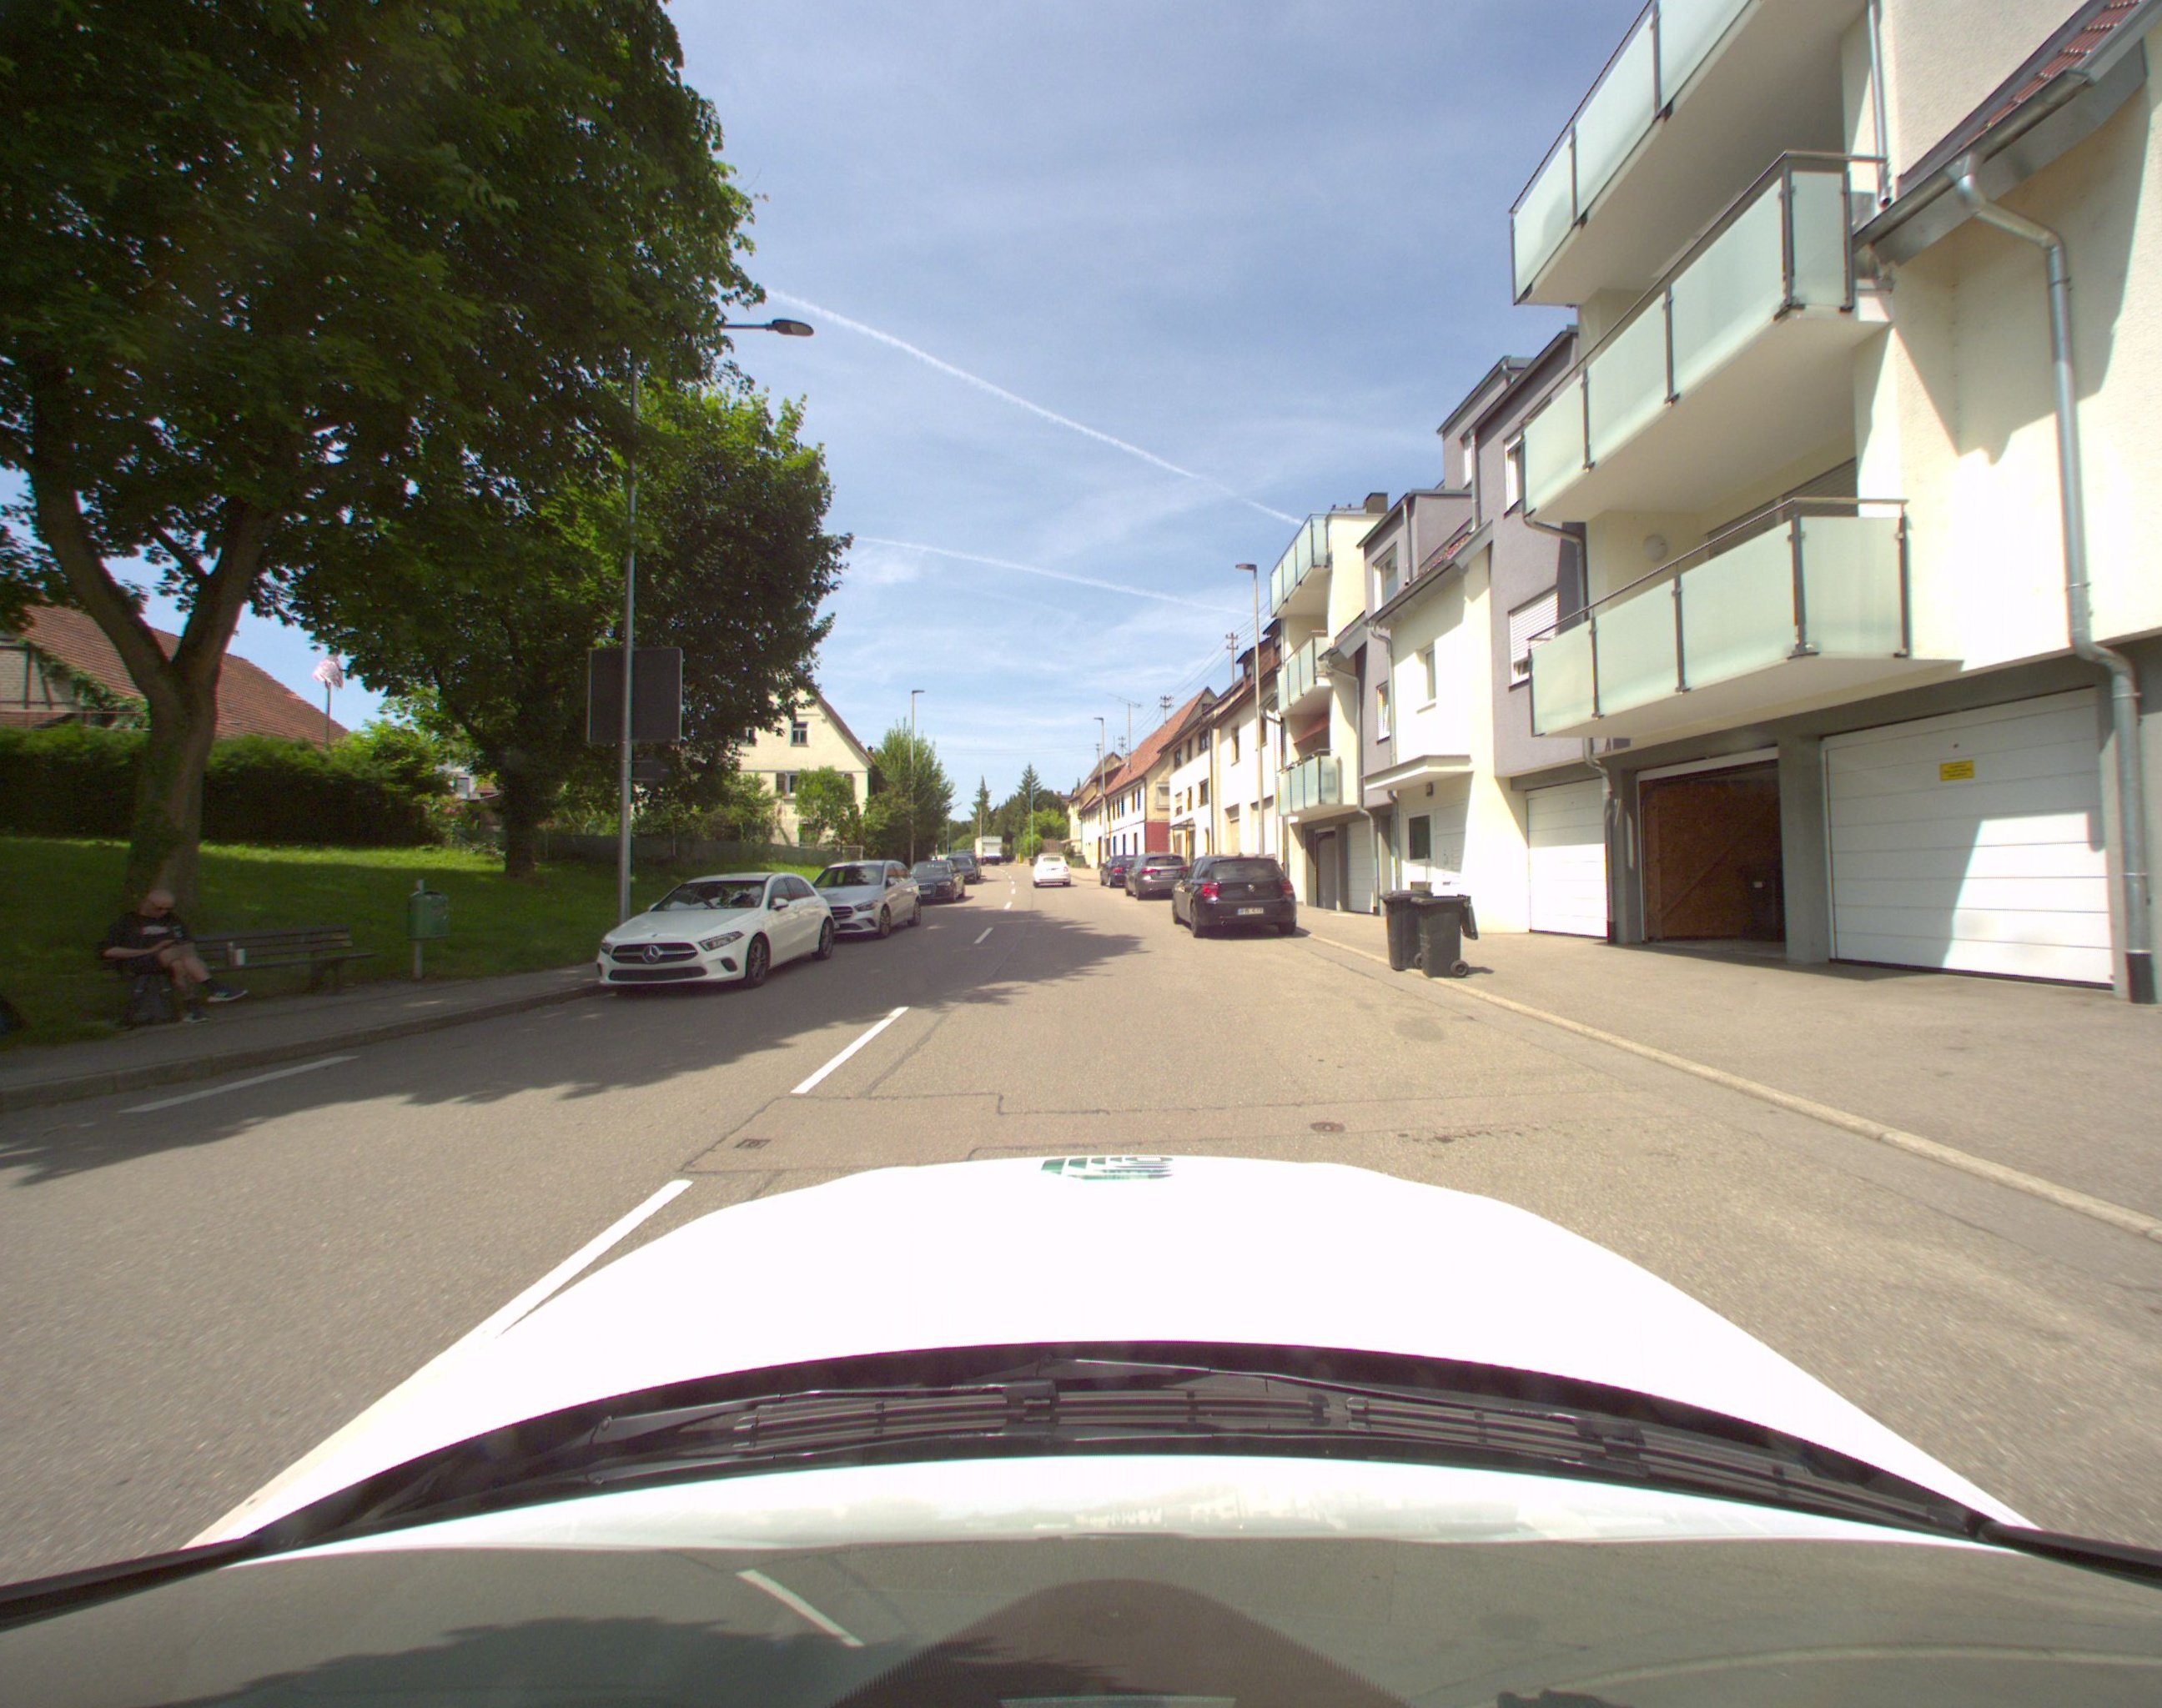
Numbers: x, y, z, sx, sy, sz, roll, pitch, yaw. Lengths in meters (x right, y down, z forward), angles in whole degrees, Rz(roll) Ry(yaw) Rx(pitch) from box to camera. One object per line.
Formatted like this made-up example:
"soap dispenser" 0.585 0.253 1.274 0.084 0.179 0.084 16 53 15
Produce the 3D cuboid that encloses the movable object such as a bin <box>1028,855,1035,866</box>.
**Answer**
"movable object such as a bin" -5.084 0.659 84.097 0.491 1.033 0.550 -5 0 12

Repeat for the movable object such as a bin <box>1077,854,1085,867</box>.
"movable object such as a bin" 0.007 0.518 66.724 0.546 1.033 0.550 -4 1 -8

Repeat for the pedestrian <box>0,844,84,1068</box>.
"pedestrian" -8.210 0.740 6.072 0.732 1.616 0.625 1 -1 -19

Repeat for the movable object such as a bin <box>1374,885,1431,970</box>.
"movable object such as a bin" 3.898 0.883 9.899 0.430 0.956 0.517 -3 0 -1

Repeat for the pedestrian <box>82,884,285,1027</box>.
"pedestrian" -8.551 0.939 7.791 1.230 1.269 0.647 1 -1 4

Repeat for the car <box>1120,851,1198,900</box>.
"car" 2.423 0.631 26.327 1.790 1.403 4.406 -2 0 -4

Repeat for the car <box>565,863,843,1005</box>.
"car" -4.876 0.924 11.348 1.749 1.467 4.362 -3 0 0

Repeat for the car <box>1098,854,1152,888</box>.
"car" 1.824 0.671 34.915 1.664 1.352 4.177 -1 0 -7

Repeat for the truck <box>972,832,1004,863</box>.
"truck" -12.119 -0.739 105.723 3.072 3.774 7.830 -1 -1 -13

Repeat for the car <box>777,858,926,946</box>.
"car" -4.651 0.901 17.197 1.766 1.527 4.223 -3 0 2

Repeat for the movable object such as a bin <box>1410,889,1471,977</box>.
"movable object such as a bin" 4.048 0.878 9.178 0.430 0.925 0.491 -2 0 -1

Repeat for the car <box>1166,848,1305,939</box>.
"car" 2.746 0.662 15.442 1.791 1.424 4.289 -2 0 0

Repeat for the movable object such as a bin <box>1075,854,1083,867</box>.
"movable object such as a bin" -0.141 0.515 67.359 0.546 1.033 0.550 -4 1 -8

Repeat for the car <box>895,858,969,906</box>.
"car" -5.163 0.916 28.757 1.800 1.423 4.924 -3 0 -2

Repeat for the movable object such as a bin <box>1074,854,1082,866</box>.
"movable object such as a bin" -0.277 0.505 68.528 0.546 1.033 0.550 -4 1 -8

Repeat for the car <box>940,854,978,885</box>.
"car" -6.406 0.771 43.054 1.787 1.463 4.701 -2 0 -7

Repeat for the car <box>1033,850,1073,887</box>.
"car" -1.336 0.654 37.497 1.722 1.560 3.994 -1 0 -4
